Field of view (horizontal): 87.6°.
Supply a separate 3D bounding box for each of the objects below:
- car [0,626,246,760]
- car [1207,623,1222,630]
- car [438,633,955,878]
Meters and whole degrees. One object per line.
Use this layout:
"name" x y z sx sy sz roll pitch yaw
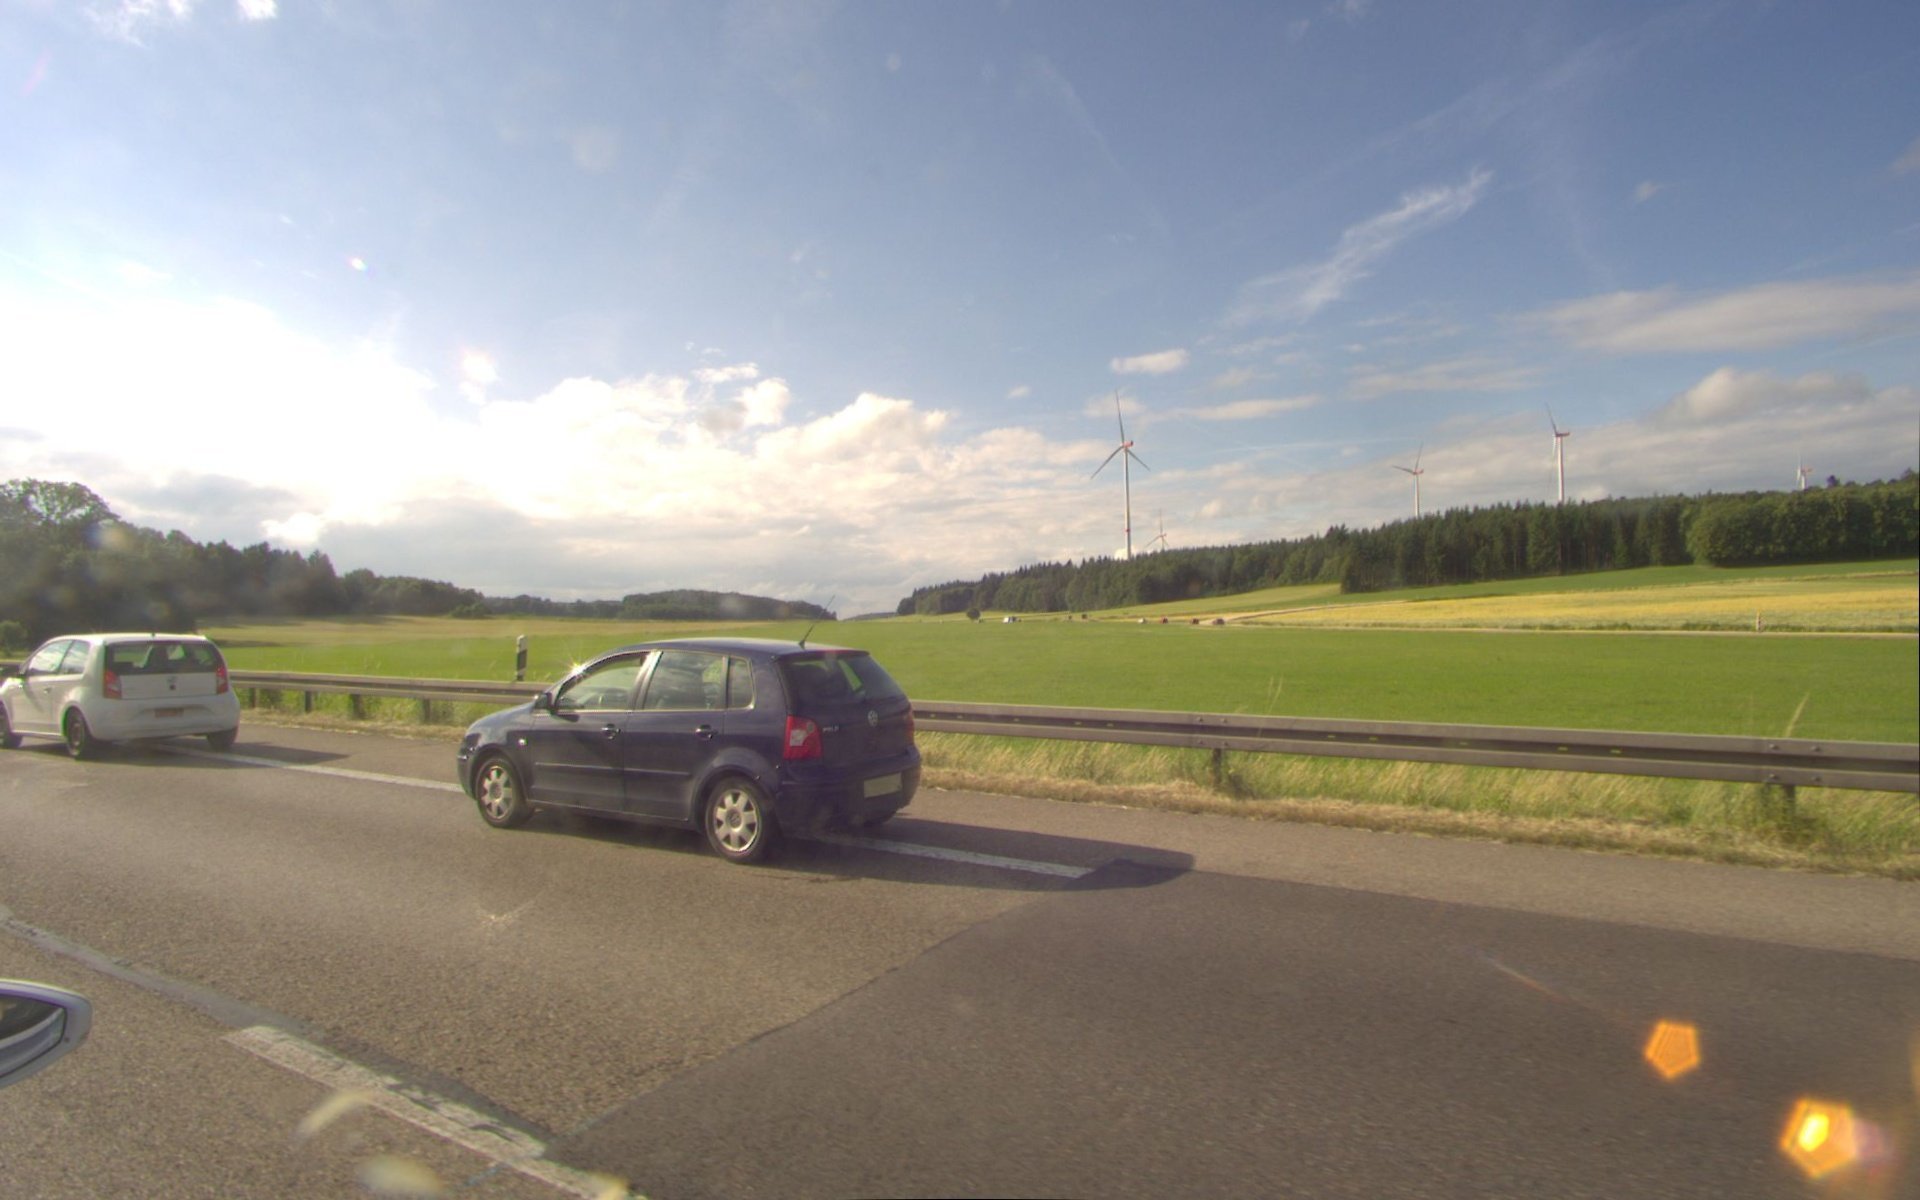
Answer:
"car" -10.930 1.108 12.932 3.327 1.514 1.547 0 -2 30
"car" 54.673 5.690 215.032 1.803 1.505 4.222 0 -2 -5
"car" -2.069 1.004 7.685 3.717 1.464 1.709 -2 -2 29
